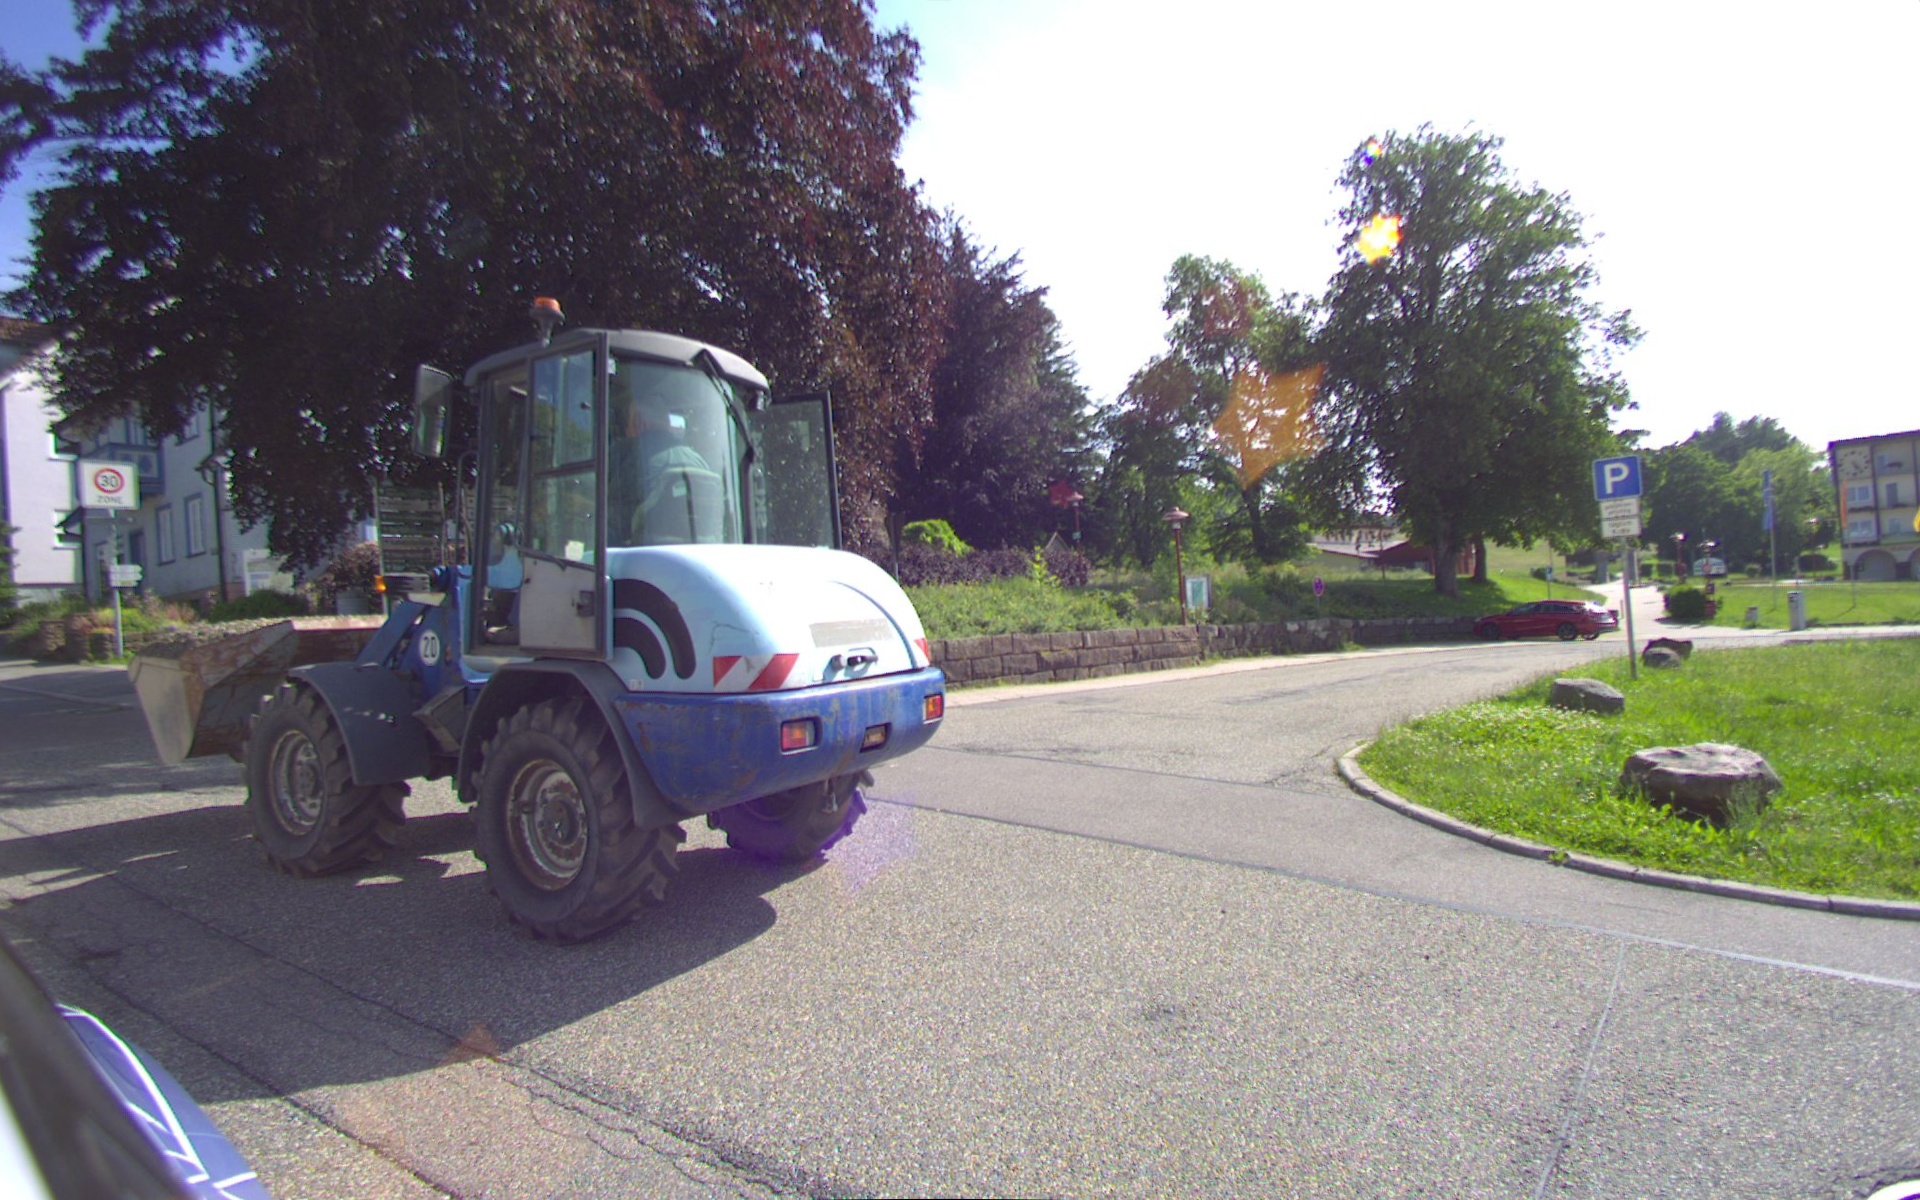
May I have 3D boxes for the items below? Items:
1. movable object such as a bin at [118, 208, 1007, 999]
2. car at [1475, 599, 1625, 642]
[{"bbox_3d":[-2.445,0.034,5.730,5.085,2.790,1.979,-1,0,31],"label":"movable object such as a bin"},{"bbox_3d":[20.978,0.723,36.142,1.793,1.409,4.250,-1,-1,-32],"label":"car"}]
